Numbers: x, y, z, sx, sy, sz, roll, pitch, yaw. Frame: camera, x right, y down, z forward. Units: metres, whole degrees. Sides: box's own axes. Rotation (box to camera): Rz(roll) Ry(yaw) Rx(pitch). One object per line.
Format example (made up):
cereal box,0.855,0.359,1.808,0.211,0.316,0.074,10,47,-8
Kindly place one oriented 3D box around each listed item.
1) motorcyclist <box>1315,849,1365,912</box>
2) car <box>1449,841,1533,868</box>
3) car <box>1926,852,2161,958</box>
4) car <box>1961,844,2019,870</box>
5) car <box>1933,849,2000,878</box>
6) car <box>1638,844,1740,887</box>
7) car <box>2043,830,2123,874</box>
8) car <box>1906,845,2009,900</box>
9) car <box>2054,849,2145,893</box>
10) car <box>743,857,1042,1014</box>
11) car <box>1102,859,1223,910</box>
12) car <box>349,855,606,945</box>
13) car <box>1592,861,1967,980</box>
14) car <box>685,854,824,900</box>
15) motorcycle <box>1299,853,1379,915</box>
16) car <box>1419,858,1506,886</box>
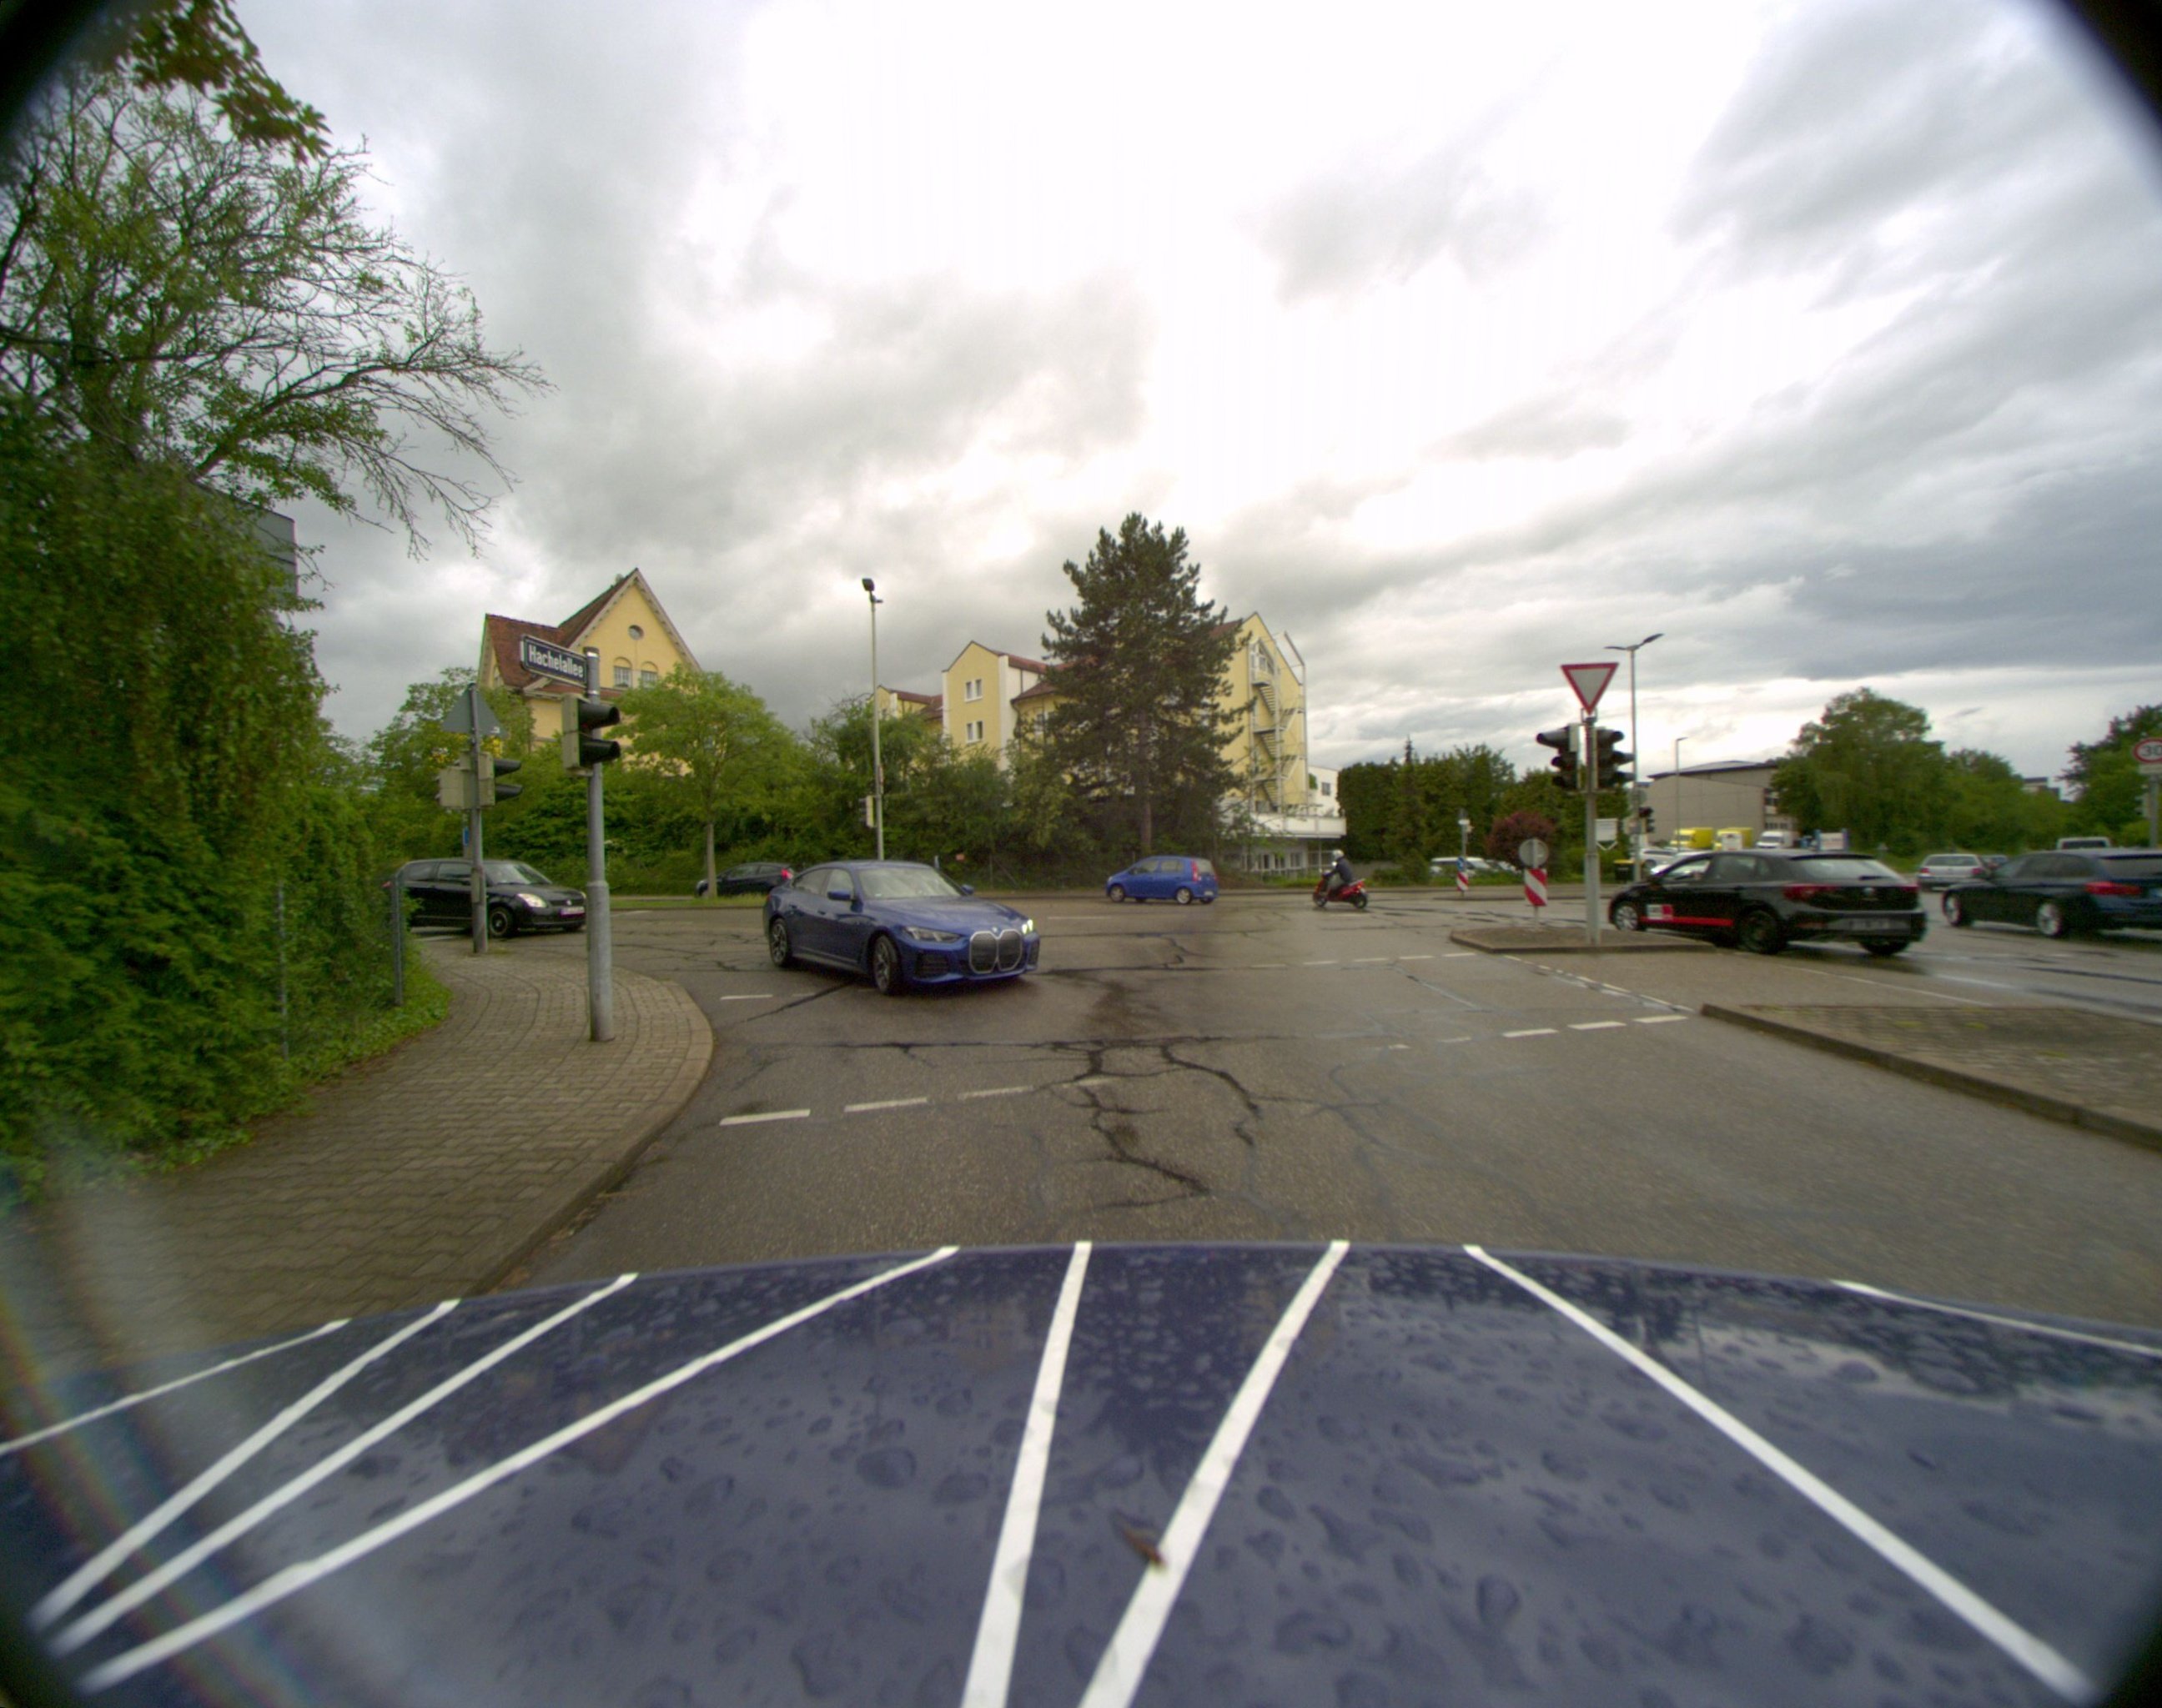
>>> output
motorcyclist,7.010,0.698,20.567,0.774,1.615,0.937,-6,3,-37
car,23.724,0.047,44.104,1.734,1.386,3.991,-5,2,-29
car,16.444,0.733,12.635,1.755,1.427,4.360,-1,0,27
car,60.451,0.201,50.512,4.007,1.546,1.995,-1,-1,-34
car,48.864,0.518,41.922,4.008,1.542,1.995,1,-1,-35
car,26.162,0.462,32.710,4.005,1.630,1.995,-2,1,-28
car,58.791,-0.056,44.567,5.267,2.399,2.594,2,-2,-35
car,32.844,0.646,28.462,4.005,1.661,1.995,-5,2,-33
car,39.124,0.636,29.256,4.007,1.546,1.995,-1,-1,-37
car,-2.675,0.853,10.085,1.918,1.488,4.336,-4,3,-43
car,2.477,0.890,23.413,3.430,1.447,1.528,0,-1,40
car,-11.764,0.876,14.907,3.993,1.511,1.748,-2,2,13
car,9.838,0.823,11.275,1.821,1.400,4.204,-1,0,3
car,-11.322,0.773,26.526,3.994,1.492,1.926,0,2,8
motorcycle,6.983,0.791,20.634,0.799,1.615,1.917,-1,0,-36
car,21.532,0.980,43.061,2.003,1.455,3.991,-2,1,-26
